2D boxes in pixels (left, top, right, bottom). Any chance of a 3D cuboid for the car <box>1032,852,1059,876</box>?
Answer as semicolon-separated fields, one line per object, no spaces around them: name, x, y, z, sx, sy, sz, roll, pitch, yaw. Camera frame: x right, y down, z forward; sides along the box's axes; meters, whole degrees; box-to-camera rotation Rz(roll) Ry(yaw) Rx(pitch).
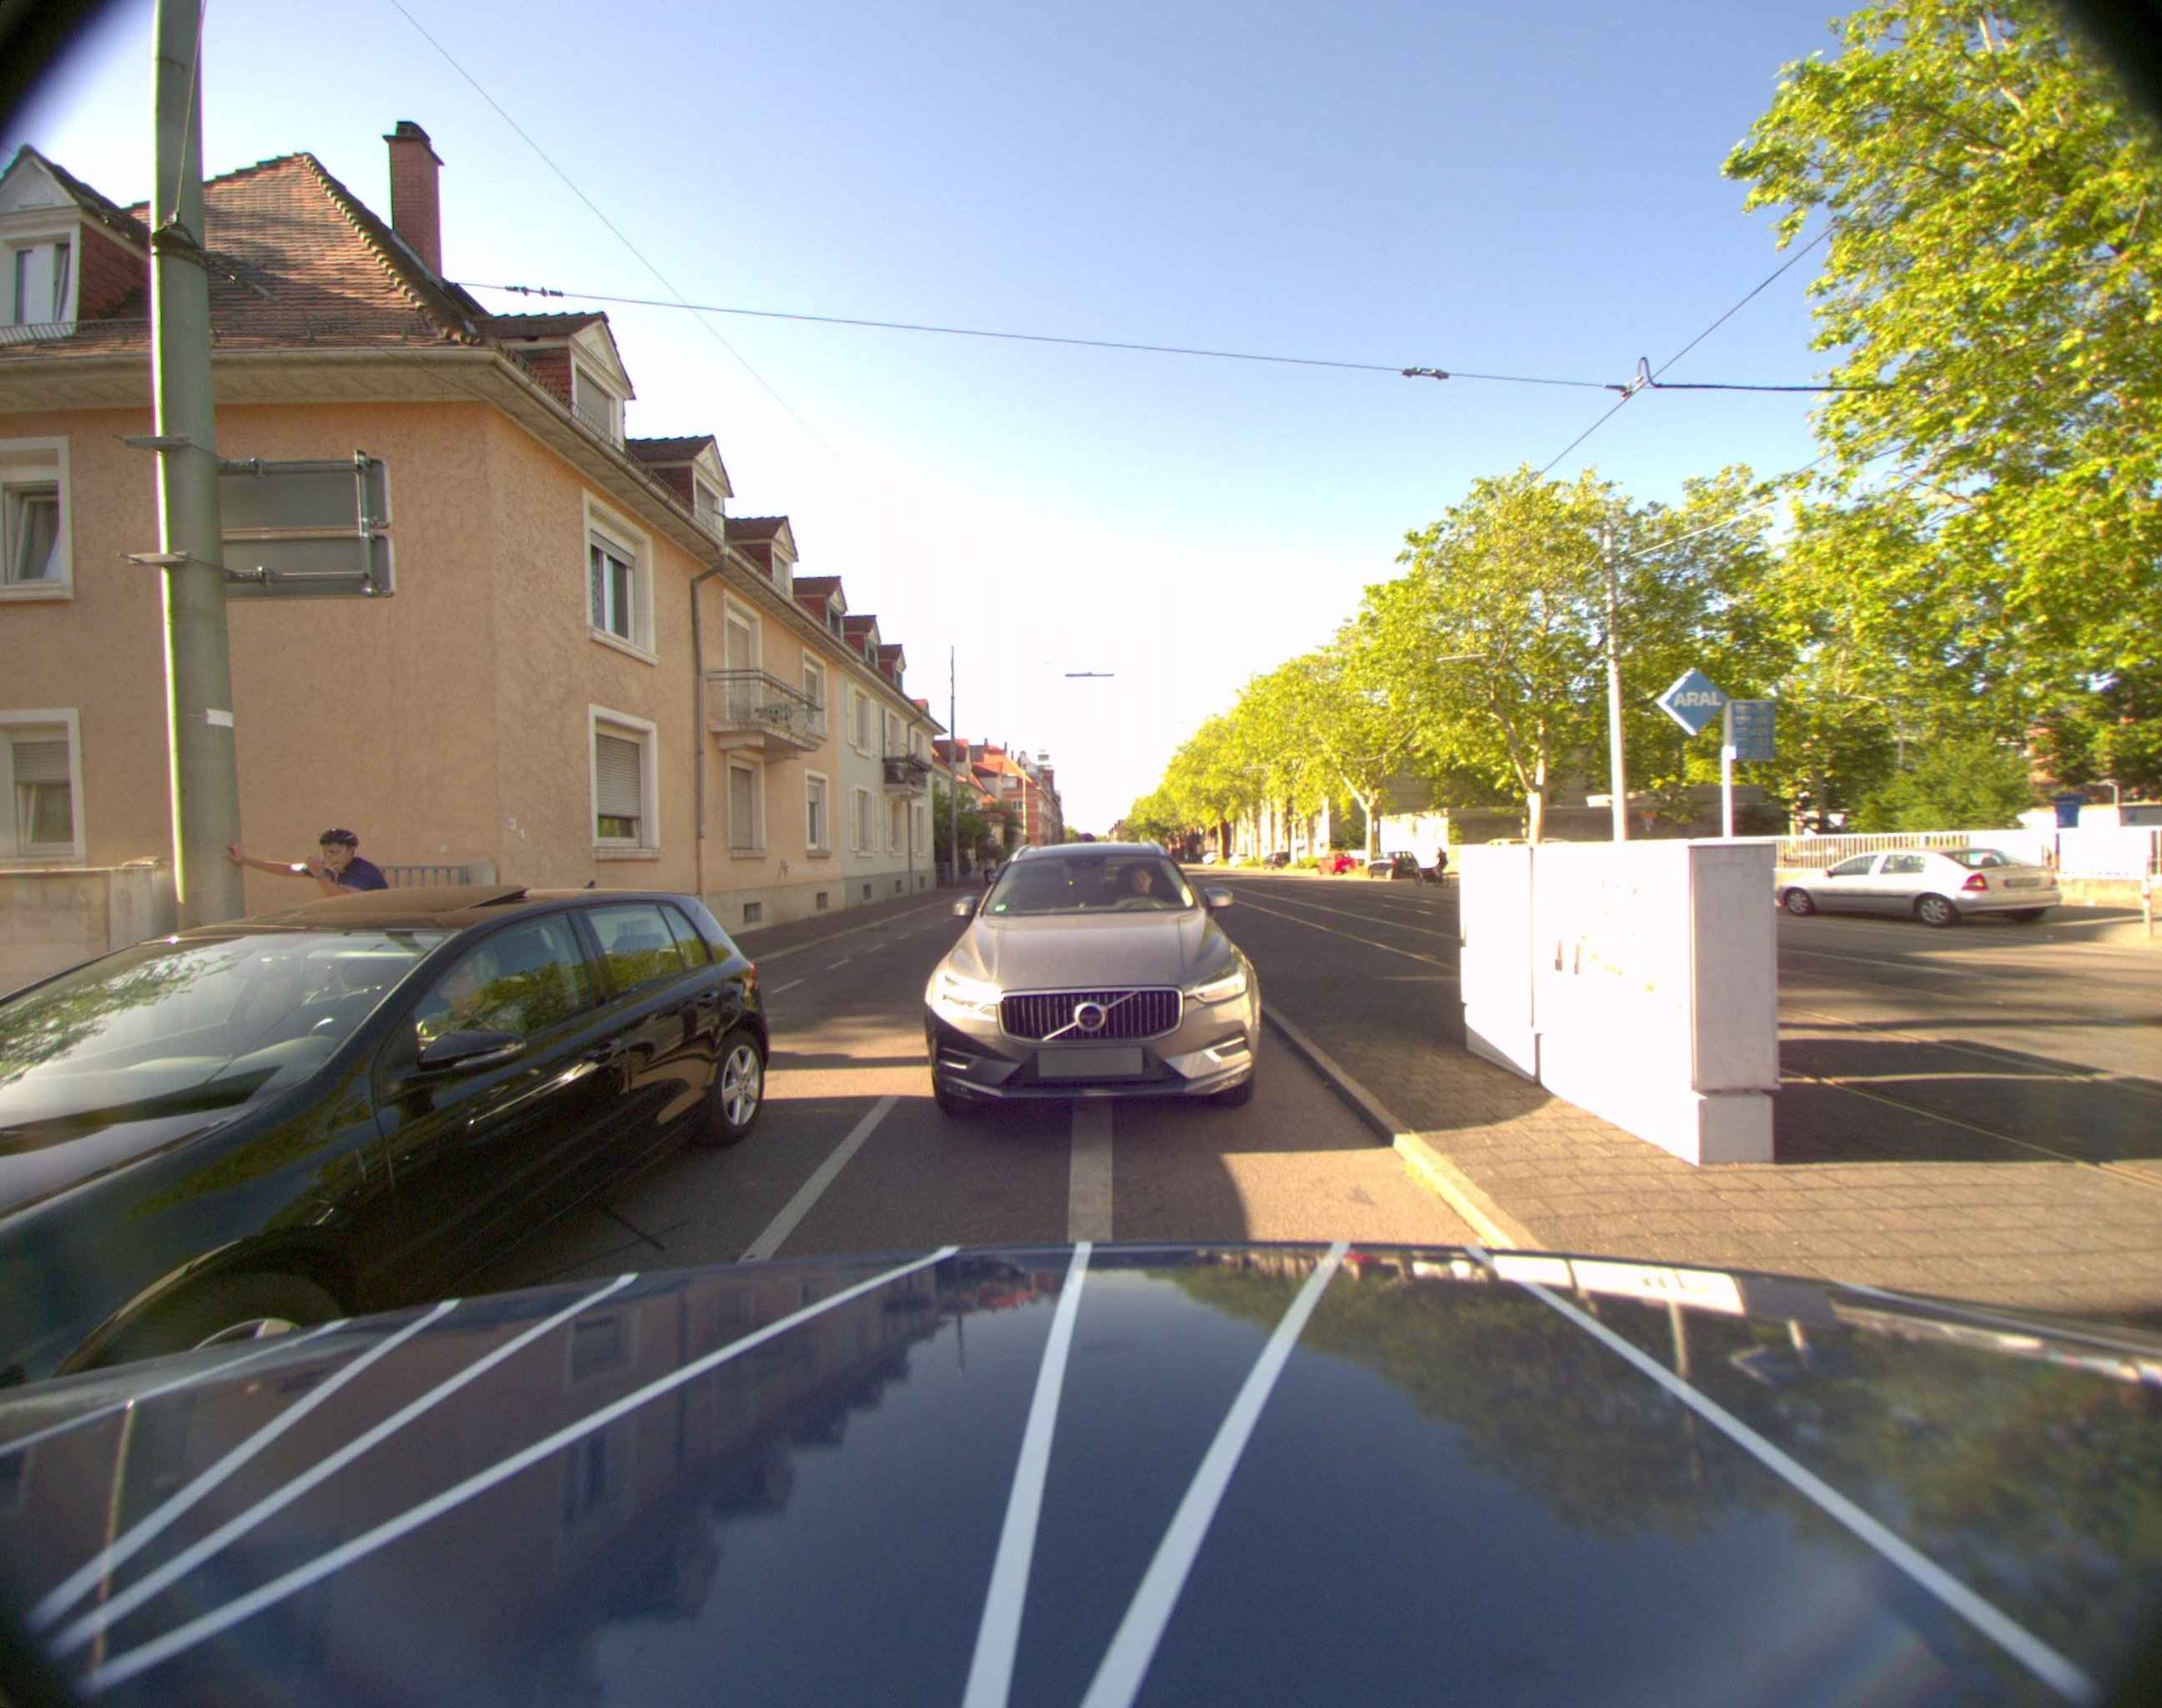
car;-2.785;0.773;60.917;1.825;1.701;4.334;-2;1;1

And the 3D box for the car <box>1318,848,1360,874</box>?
car;16.939;0.446;50.022;1.661;1.486;3.377;-4;1;3

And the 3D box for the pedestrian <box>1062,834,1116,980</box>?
pedestrian;0.104;0.672;9.925;0.609;1.832;0.599;-2;1;1

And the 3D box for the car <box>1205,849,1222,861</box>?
car;17.572;0.102;100.684;1.661;1.452;3.730;-4;1;3

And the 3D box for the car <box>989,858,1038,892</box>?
car;-3.234;0.962;37.143;1.825;1.422;4.334;-2;1;1

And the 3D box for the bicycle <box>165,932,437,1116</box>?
bicycle;-5.950;1.238;5.941;0.556;1.069;1.624;2;0;-7

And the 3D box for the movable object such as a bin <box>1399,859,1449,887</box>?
movable object such as a bin;14.342;0.774;31.859;1.178;1.097;1.834;-2;1;-3

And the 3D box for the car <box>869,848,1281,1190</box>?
car;0.122;0.796;5.831;1.924;1.579;4.387;-2;1;4

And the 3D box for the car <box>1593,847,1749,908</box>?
car;16.421;0.595;21.399;1.619;1.436;3.606;-4;1;3

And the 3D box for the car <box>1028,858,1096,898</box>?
car;-0.652;0.897;30.076;1.824;1.422;4.493;-2;-1;9

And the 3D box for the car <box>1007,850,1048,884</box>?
car;-2.910;0.688;42.398;1.825;1.701;4.334;-2;1;1

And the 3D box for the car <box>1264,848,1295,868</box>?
car;17.172;0.325;65.968;1.754;1.582;3.878;-4;1;3

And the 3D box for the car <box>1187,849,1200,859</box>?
car;18.553;0.060;125.560;1.661;1.452;3.730;-4;1;3

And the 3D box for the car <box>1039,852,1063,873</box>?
car;-2.597;0.695;67.283;1.825;1.701;4.334;-2;1;1

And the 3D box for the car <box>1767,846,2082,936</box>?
car;16.196;0.629;14.956;1.687;1.358;3.989;-6;0;1

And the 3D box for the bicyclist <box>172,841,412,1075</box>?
bicyclist;-6.080;0.770;5.916;1.021;1.684;0.729;2;0;-7

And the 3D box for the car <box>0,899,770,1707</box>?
car;-2.807;1.043;2.632;1.717;1.430;3.990;-2;1;1

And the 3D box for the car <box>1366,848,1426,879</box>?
car;16.834;0.447;40.830;1.723;1.436;3.769;-4;1;3

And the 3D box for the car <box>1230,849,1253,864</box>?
car;17.618;0.246;83.470;1.754;1.532;3.878;-4;1;3

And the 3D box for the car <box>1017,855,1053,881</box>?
car;-2.774;0.832;47.014;1.825;1.424;4.334;-2;1;1

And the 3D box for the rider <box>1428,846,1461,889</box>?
rider;14.526;0.519;30.375;0.725;1.639;1.106;-2;1;-3

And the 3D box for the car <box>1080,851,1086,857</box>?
car;0.647;0.105;228.550;1.851;1.640;3.999;-2;1;1
